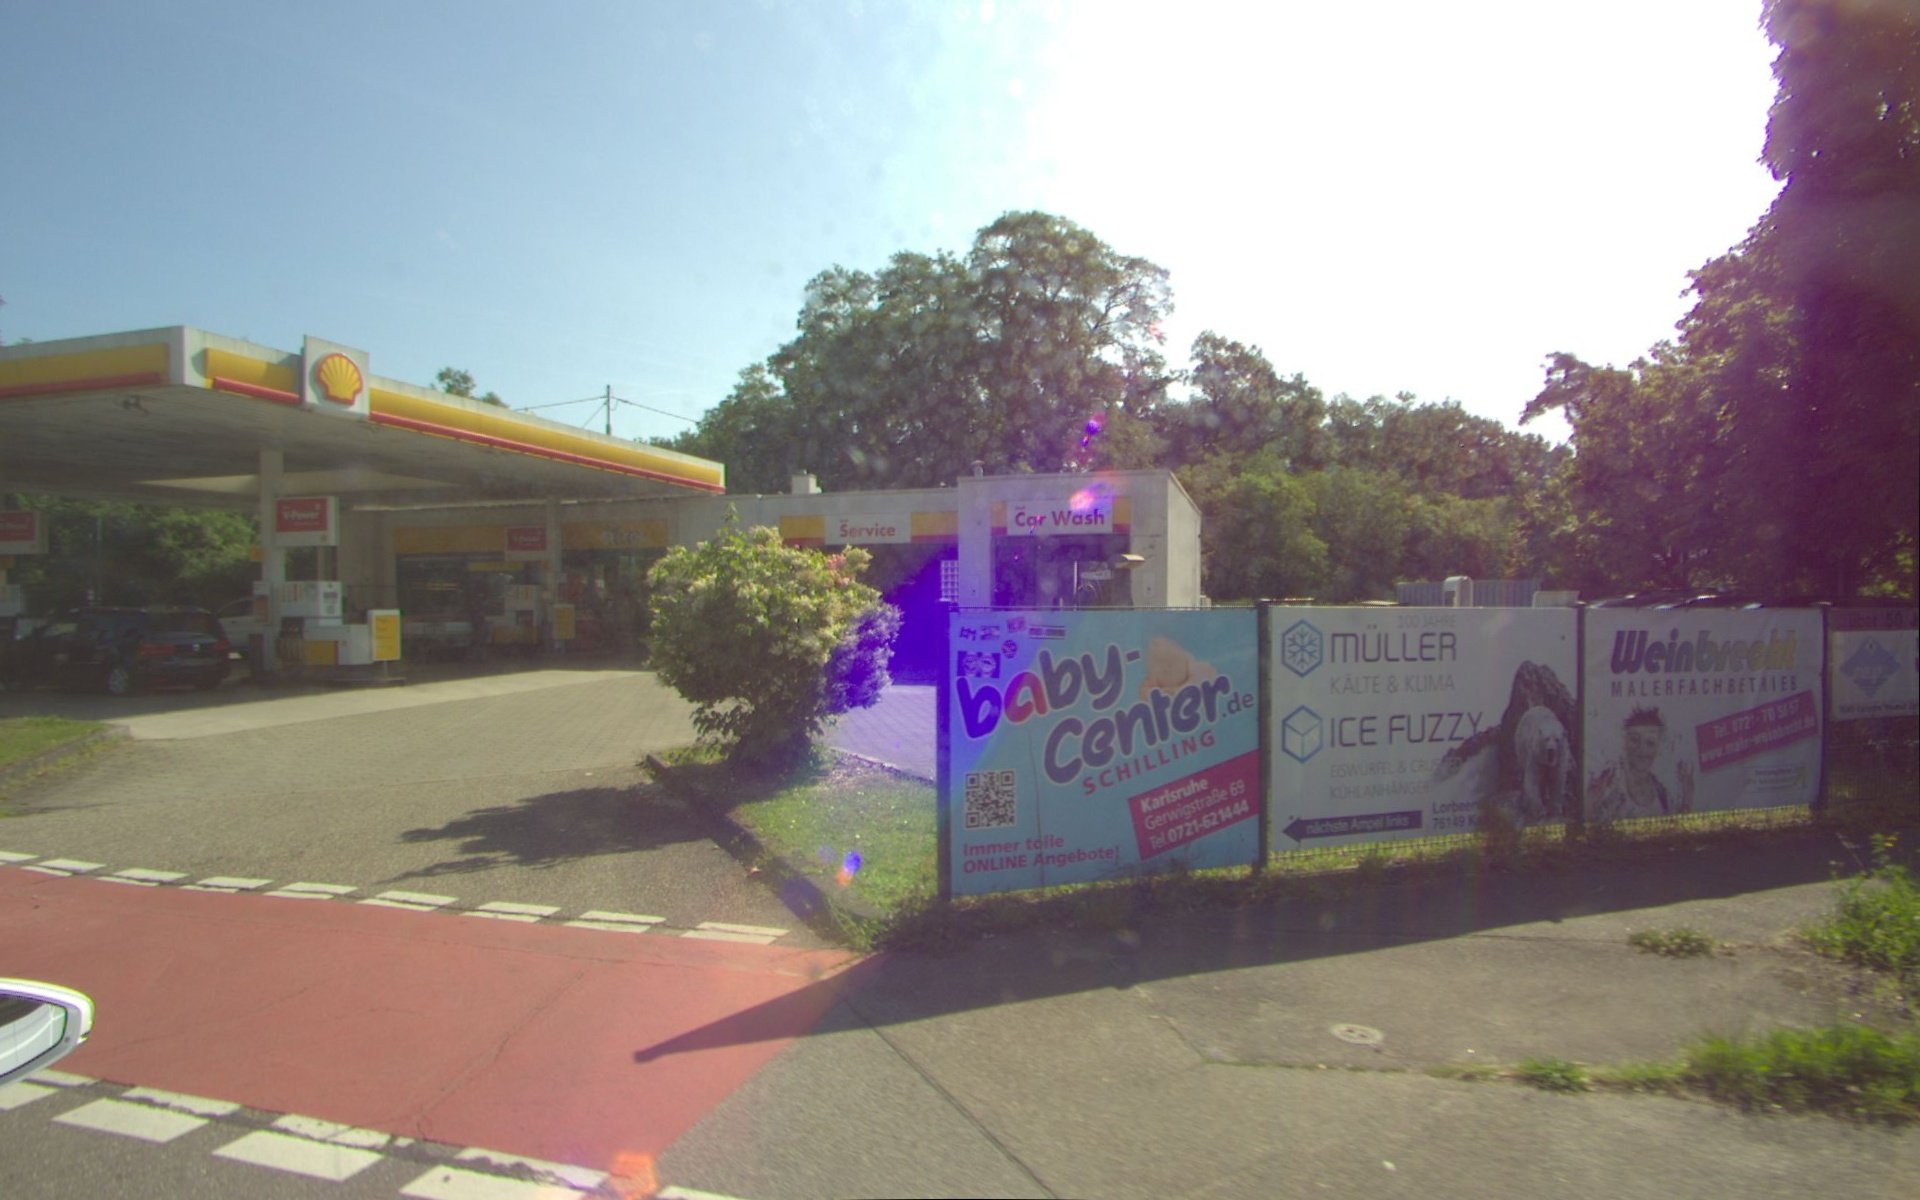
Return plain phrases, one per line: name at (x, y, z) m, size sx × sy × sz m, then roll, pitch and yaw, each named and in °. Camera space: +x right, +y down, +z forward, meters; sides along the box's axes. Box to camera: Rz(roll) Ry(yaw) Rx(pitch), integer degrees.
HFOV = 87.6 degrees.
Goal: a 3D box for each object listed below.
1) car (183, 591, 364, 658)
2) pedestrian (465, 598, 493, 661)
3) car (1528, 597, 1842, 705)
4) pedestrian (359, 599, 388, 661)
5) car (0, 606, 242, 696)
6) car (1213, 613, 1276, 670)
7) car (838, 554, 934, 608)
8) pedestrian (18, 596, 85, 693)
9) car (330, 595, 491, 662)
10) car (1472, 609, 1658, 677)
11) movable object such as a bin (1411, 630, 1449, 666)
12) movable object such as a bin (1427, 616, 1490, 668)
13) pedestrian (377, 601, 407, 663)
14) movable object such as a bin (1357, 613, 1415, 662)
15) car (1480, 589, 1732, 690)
car at (-20.189, 0.695, 29.469) m, size 4.693 × 1.862 × 1.855 m, roll 0°, pitch 0°, yaw 16°
pedestrian at (-13.166, 0.804, 27.407) m, size 0.492 × 1.690 × 0.475 m, roll 0°, pitch 1°, yaw 19°
car at (11.853, 0.792, 16.650) m, size 3.867 × 1.650 × 1.682 m, roll 0°, pitch 0°, yaw 16°
pedestrian at (-15.800, 0.807, 26.981) m, size 0.467 × 1.653 × 0.499 m, roll 0°, pitch 1°, yaw 21°
car at (-16.065, 0.912, 19.195) m, size 3.807 × 1.599 × 1.763 m, roll 0°, pitch 0°, yaw 16°
car at (8.476, 1.223, 29.810) m, size 1.695 × 1.595 × 3.390 m, roll 0°, pitch -2°, yaw 16°
car at (-2.316, -0.557, 32.263) m, size 1.623 × 1.505 × 3.994 m, roll -1°, pitch -2°, yaw 19°
pedestrian at (-16.776, 0.804, 18.496) m, size 0.799 × 1.752 × 0.672 m, roll 0°, pitch 0°, yaw 26°
car at (-15.248, 0.777, 27.826) m, size 3.932 × 1.750 × 1.829 m, roll -1°, pitch 0°, yaw 22°
car at (14.085, 0.969, 23.525) m, size 3.448 × 1.458 × 1.680 m, roll -1°, pitch 2°, yaw 19°
movable object such as a bin at (12.621, 1.278, 26.900) m, size 0.852 × 0.922 × 0.492 m, roll 0°, pitch 0°, yaw -22°
movable object such as a bin at (12.948, 1.069, 26.027) m, size 0.851 × 1.307 × 1.232 m, roll 0°, pitch 0°, yaw -20°
pedestrian at (-15.075, 0.842, 26.563) m, size 0.467 × 1.614 × 0.499 m, roll 0°, pitch 1°, yaw 21°
movable object such as a bin at (11.937, 1.037, 28.084) m, size 0.837 × 1.342 × 1.229 m, roll 0°, pitch 0°, yaw -29°
car at (12.838, 0.798, 20.155) m, size 3.869 × 1.816 × 1.682 m, roll -3°, pitch -1°, yaw 16°
